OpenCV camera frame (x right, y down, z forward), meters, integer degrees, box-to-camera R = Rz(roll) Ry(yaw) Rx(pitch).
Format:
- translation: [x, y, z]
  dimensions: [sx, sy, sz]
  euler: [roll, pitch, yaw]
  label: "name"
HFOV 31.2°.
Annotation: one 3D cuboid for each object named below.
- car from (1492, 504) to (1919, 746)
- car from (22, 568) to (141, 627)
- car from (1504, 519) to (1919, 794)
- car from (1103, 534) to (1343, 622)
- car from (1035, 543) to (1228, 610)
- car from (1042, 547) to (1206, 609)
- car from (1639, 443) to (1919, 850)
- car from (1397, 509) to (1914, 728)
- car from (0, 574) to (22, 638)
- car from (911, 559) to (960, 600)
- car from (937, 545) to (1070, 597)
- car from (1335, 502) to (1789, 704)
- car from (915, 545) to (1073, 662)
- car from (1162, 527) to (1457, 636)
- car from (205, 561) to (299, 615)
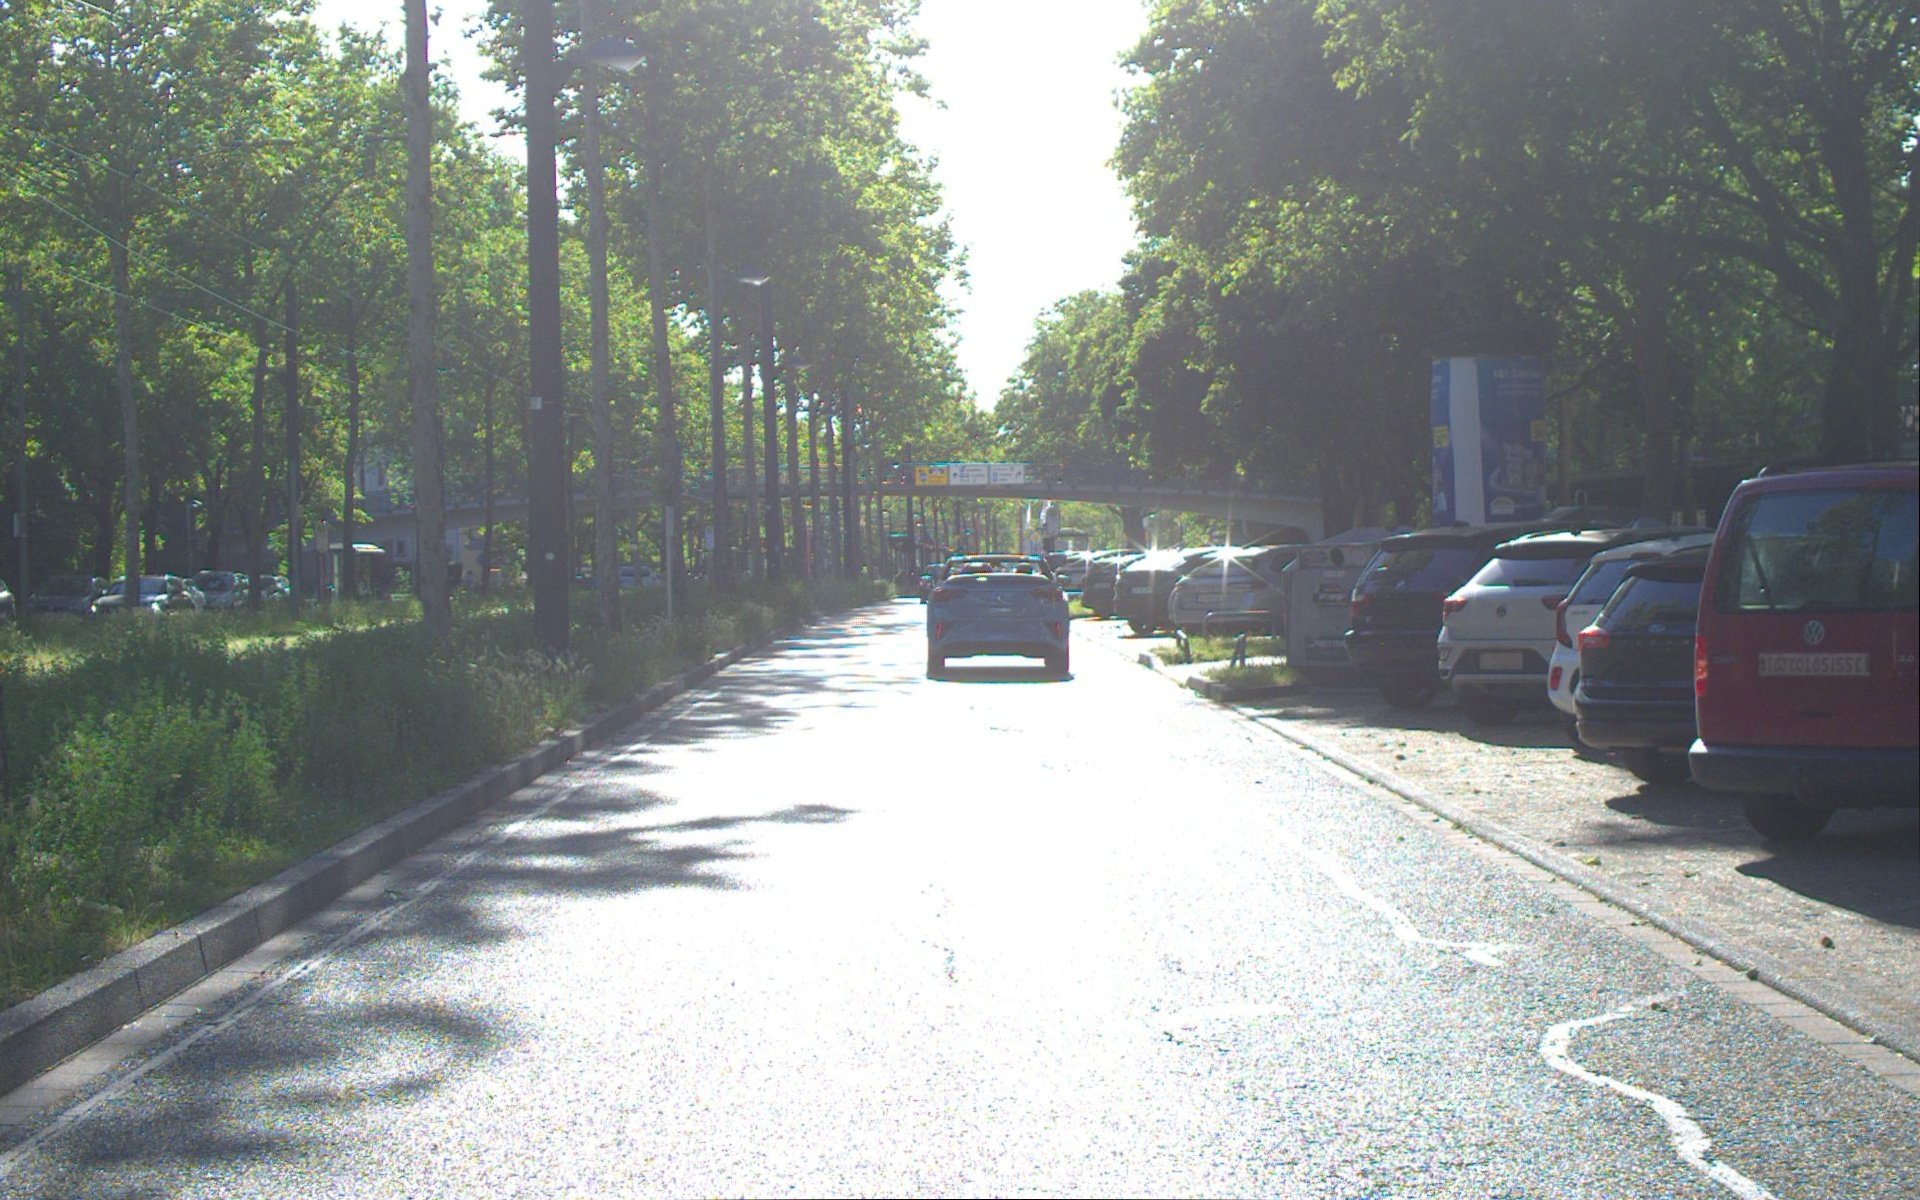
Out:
- translation: [5.900, 0.129, 25.133]
  dimensions: [4.074, 1.576, 1.780]
  euler: [-3, 1, -42]
  label: "car"
- translation: [-23.033, -0.081, 90.283]
  dimensions: [1.993, 1.448, 4.000]
  euler: [2, 1, 1]
  label: "car"
- translation: [5.377, 0.266, 20.915]
  dimensions: [4.073, 1.476, 1.651]
  euler: [-3, 1, -36]
  label: "car"
- translation: [4.771, -0.413, 61.972]
  dimensions: [4.318, 1.420, 1.855]
  euler: [-3, 1, -44]
  label: "car"
- translation: [4.046, -0.560, 80.623]
  dimensions: [1.978, 1.454, 4.613]
  euler: [-1, 1, 44]
  label: "car"
- translation: [4.604, -0.620, 95.892]
  dimensions: [4.611, 1.674, 1.856]
  euler: [0, 1, -43]
  label: "car"
- translation: [5.356, 0.138, 17.077]
  dimensions: [4.073, 1.804, 1.650]
  euler: [-3, 1, -40]
  label: "car"
- translation: [5.716, 0.116, 28.087]
  dimensions: [4.072, 1.576, 1.781]
  euler: [-3, 1, -35]
  label: "car"
- translation: [-22.918, 0.115, 78.603]
  dimensions: [1.872, 1.448, 3.574]
  euler: [2, 1, 1]
  label: "car"
- translation: [-0.933, -0.809, 133.828]
  dimensions: [1.849, 1.530, 3.866]
  euler: [-1, 1, 0]
  label: "car"
- translation: [1.527, -1.015, 119.102]
  dimensions: [4.611, 1.762, 1.856]
  euler: [0, 1, -43]
  label: "car"
- translation: [5.525, -0.021, 31.277]
  dimensions: [4.308, 1.711, 1.635]
  euler: [-2, 1, -39]
  label: "car"
- translation: [0.431, 0.010, 43.922]
  dimensions: [1.922, 1.406, 4.000]
  euler: [0, 1, 0]
  label: "car"
- translation: [5.237, -0.287, 51.165]
  dimensions: [4.482, 1.438, 1.855]
  euler: [-3, 1, -44]
  label: "car"
- translation: [-22.469, -0.397, 109.233]
  dimensions: [1.993, 1.584, 4.168]
  euler: [2, 1, 1]
  label: "car"
